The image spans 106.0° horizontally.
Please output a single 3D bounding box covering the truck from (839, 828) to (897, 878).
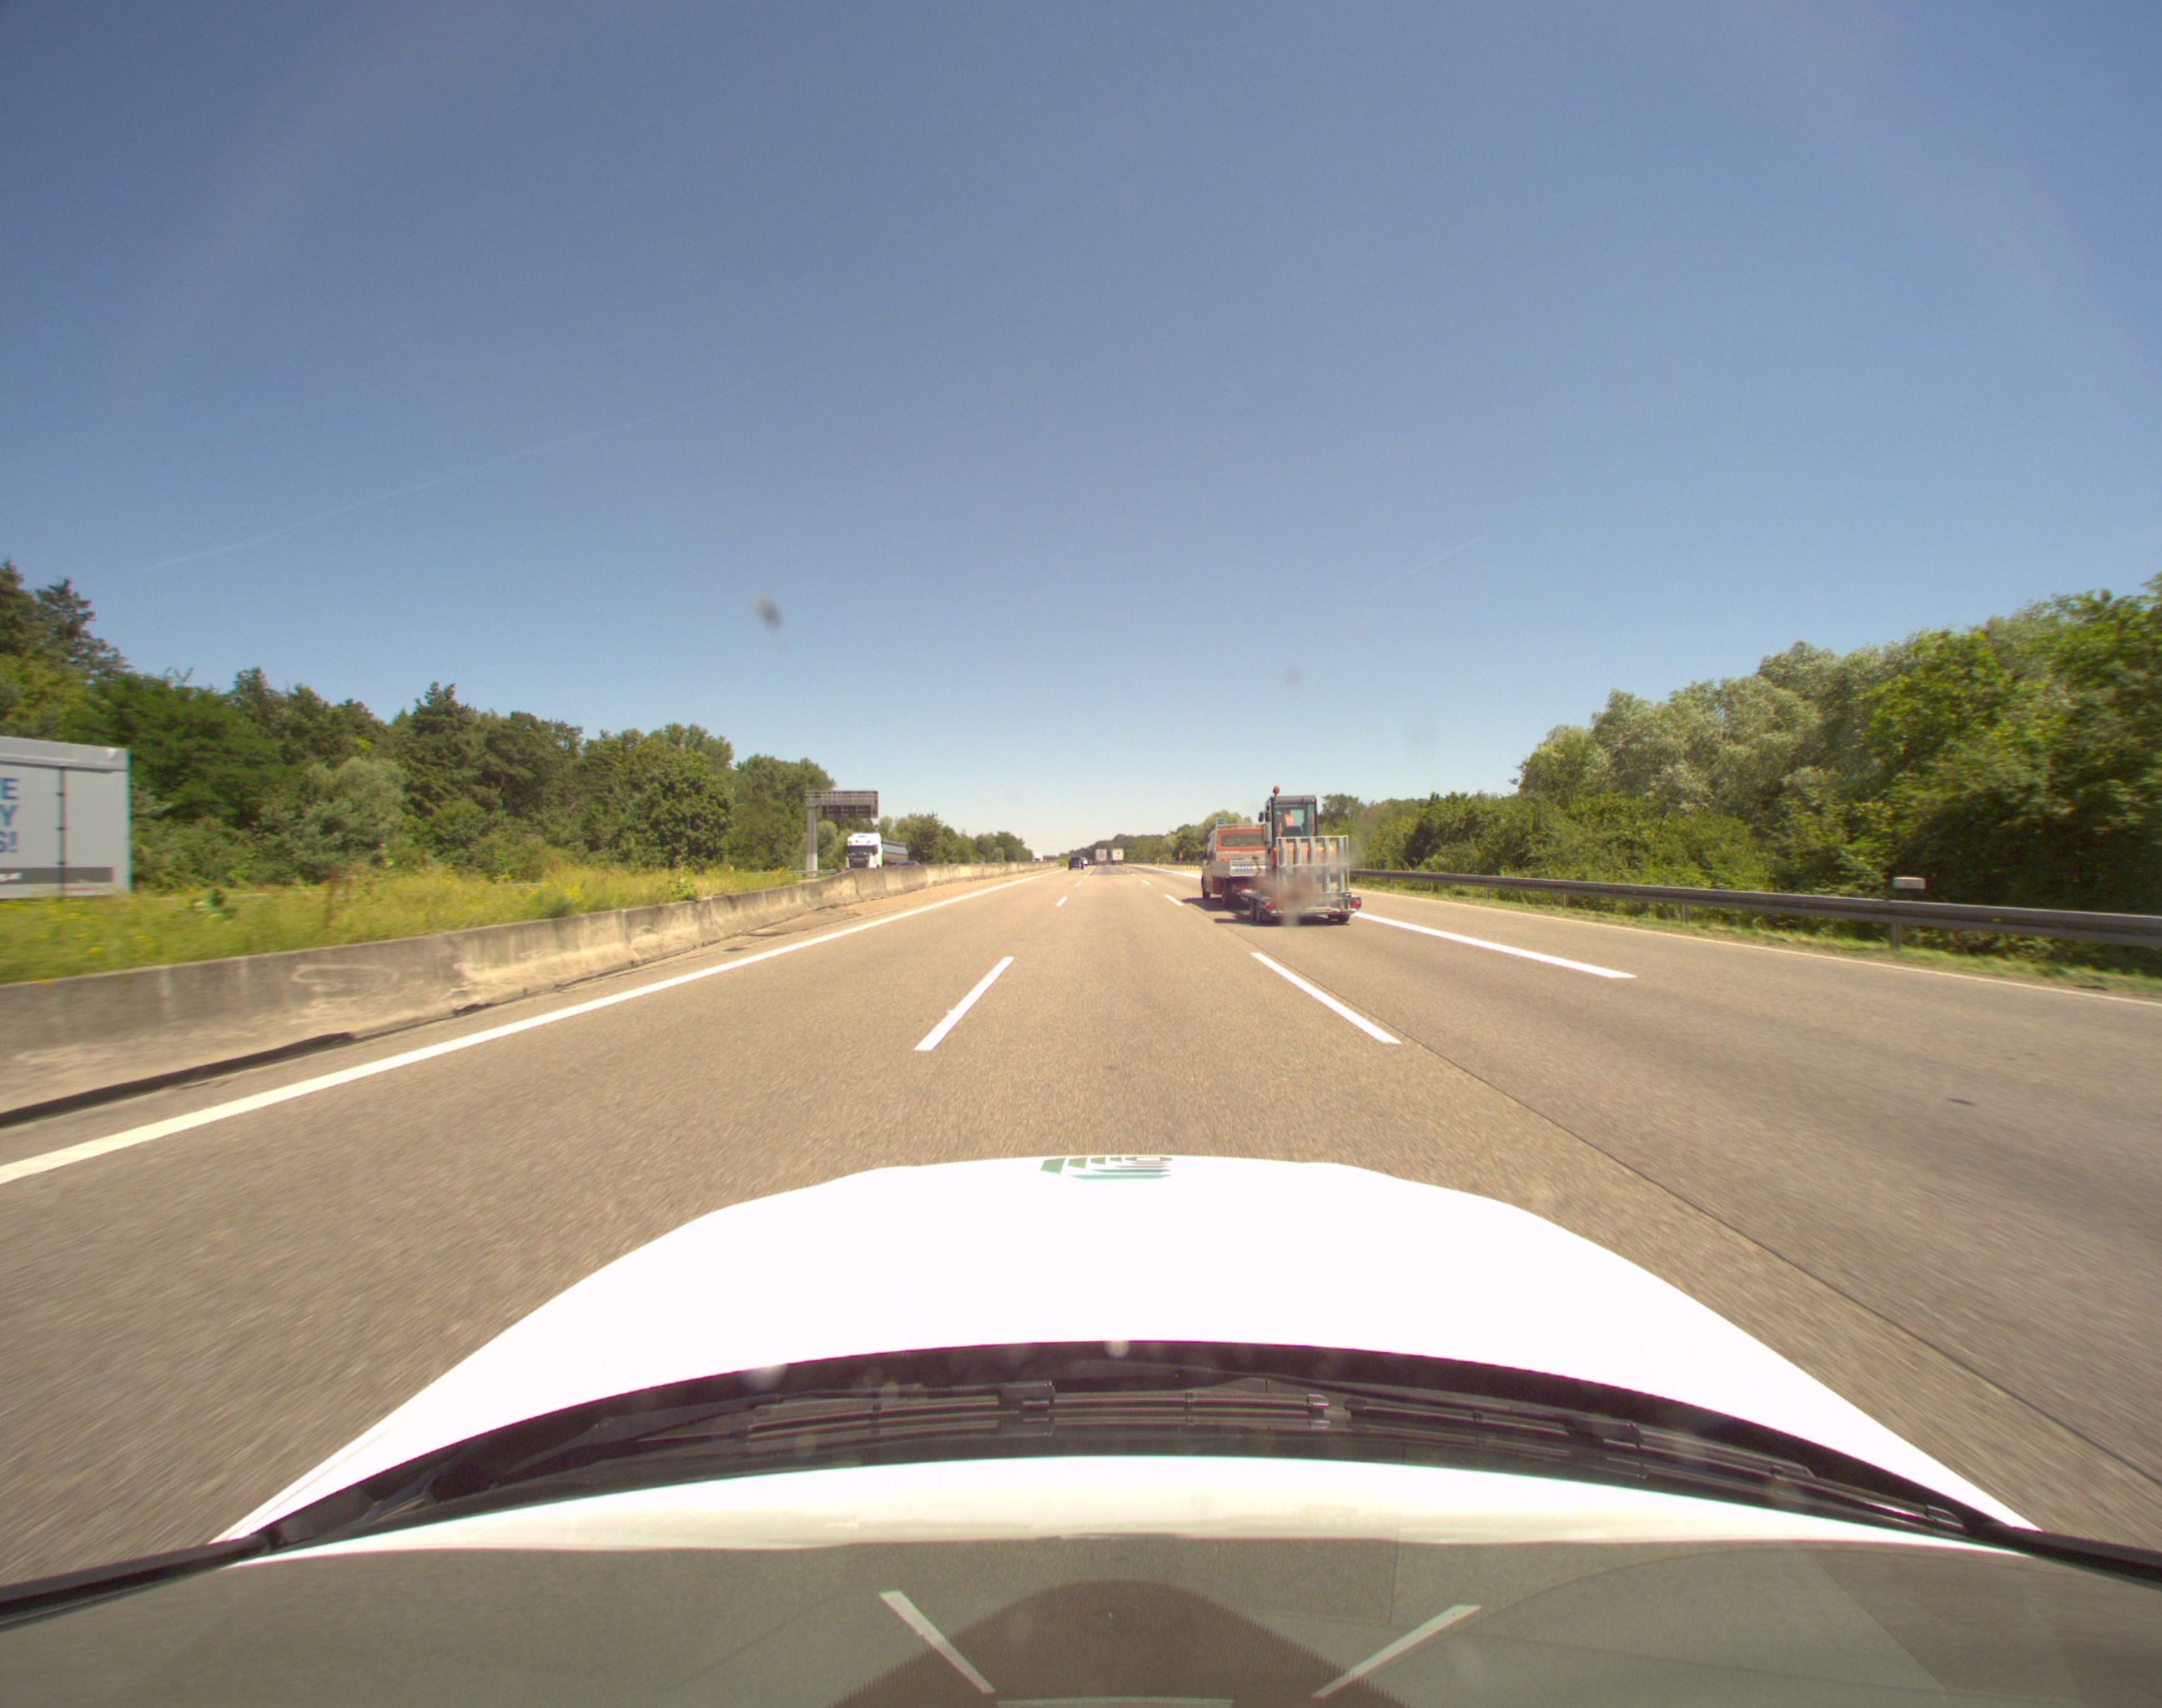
[{"bbox_3d":[-18.718,-0.092,71.985,2.797,4.047,7.731,2,0,1],"label":"truck"}]

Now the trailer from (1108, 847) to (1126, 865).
[{"bbox_3d":[8.913,0.522,203.954,3.361,4.143,9.078,2,0,-4],"label":"trailer"}]

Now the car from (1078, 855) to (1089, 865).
[{"bbox_3d":[0.496,1.159,156.143,1.986,1.874,4.001,0,0,2],"label":"car"}]

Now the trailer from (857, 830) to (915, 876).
[{"bbox_3d":[-18.669,-0.060,78.707,2.798,4.047,10.431,2,0,1],"label":"trailer"}]

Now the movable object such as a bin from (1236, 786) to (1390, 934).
[{"bbox_3d":[4.903,0.128,18.013,2.166,2.815,4.762,-1,0,2],"label":"movable object such as a bin"}]

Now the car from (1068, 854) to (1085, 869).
[{"bbox_3d":[-0.576,0.982,107.652,1.986,1.874,4.001,-1,0,1],"label":"car"}]

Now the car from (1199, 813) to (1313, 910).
[{"bbox_3d":[4.917,0.209,24.032,1.986,2.405,7.228,-1,0,2],"label":"car"}]

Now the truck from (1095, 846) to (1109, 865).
[{"bbox_3d":[4.999,0.392,194.401,3.218,4.202,8.465,2,0,0],"label":"truck"}]

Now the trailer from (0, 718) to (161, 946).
[{"bbox_3d":[-20.871,-0.383,11.126,2.973,4.076,11.779,0,0,2],"label":"trailer"}]
